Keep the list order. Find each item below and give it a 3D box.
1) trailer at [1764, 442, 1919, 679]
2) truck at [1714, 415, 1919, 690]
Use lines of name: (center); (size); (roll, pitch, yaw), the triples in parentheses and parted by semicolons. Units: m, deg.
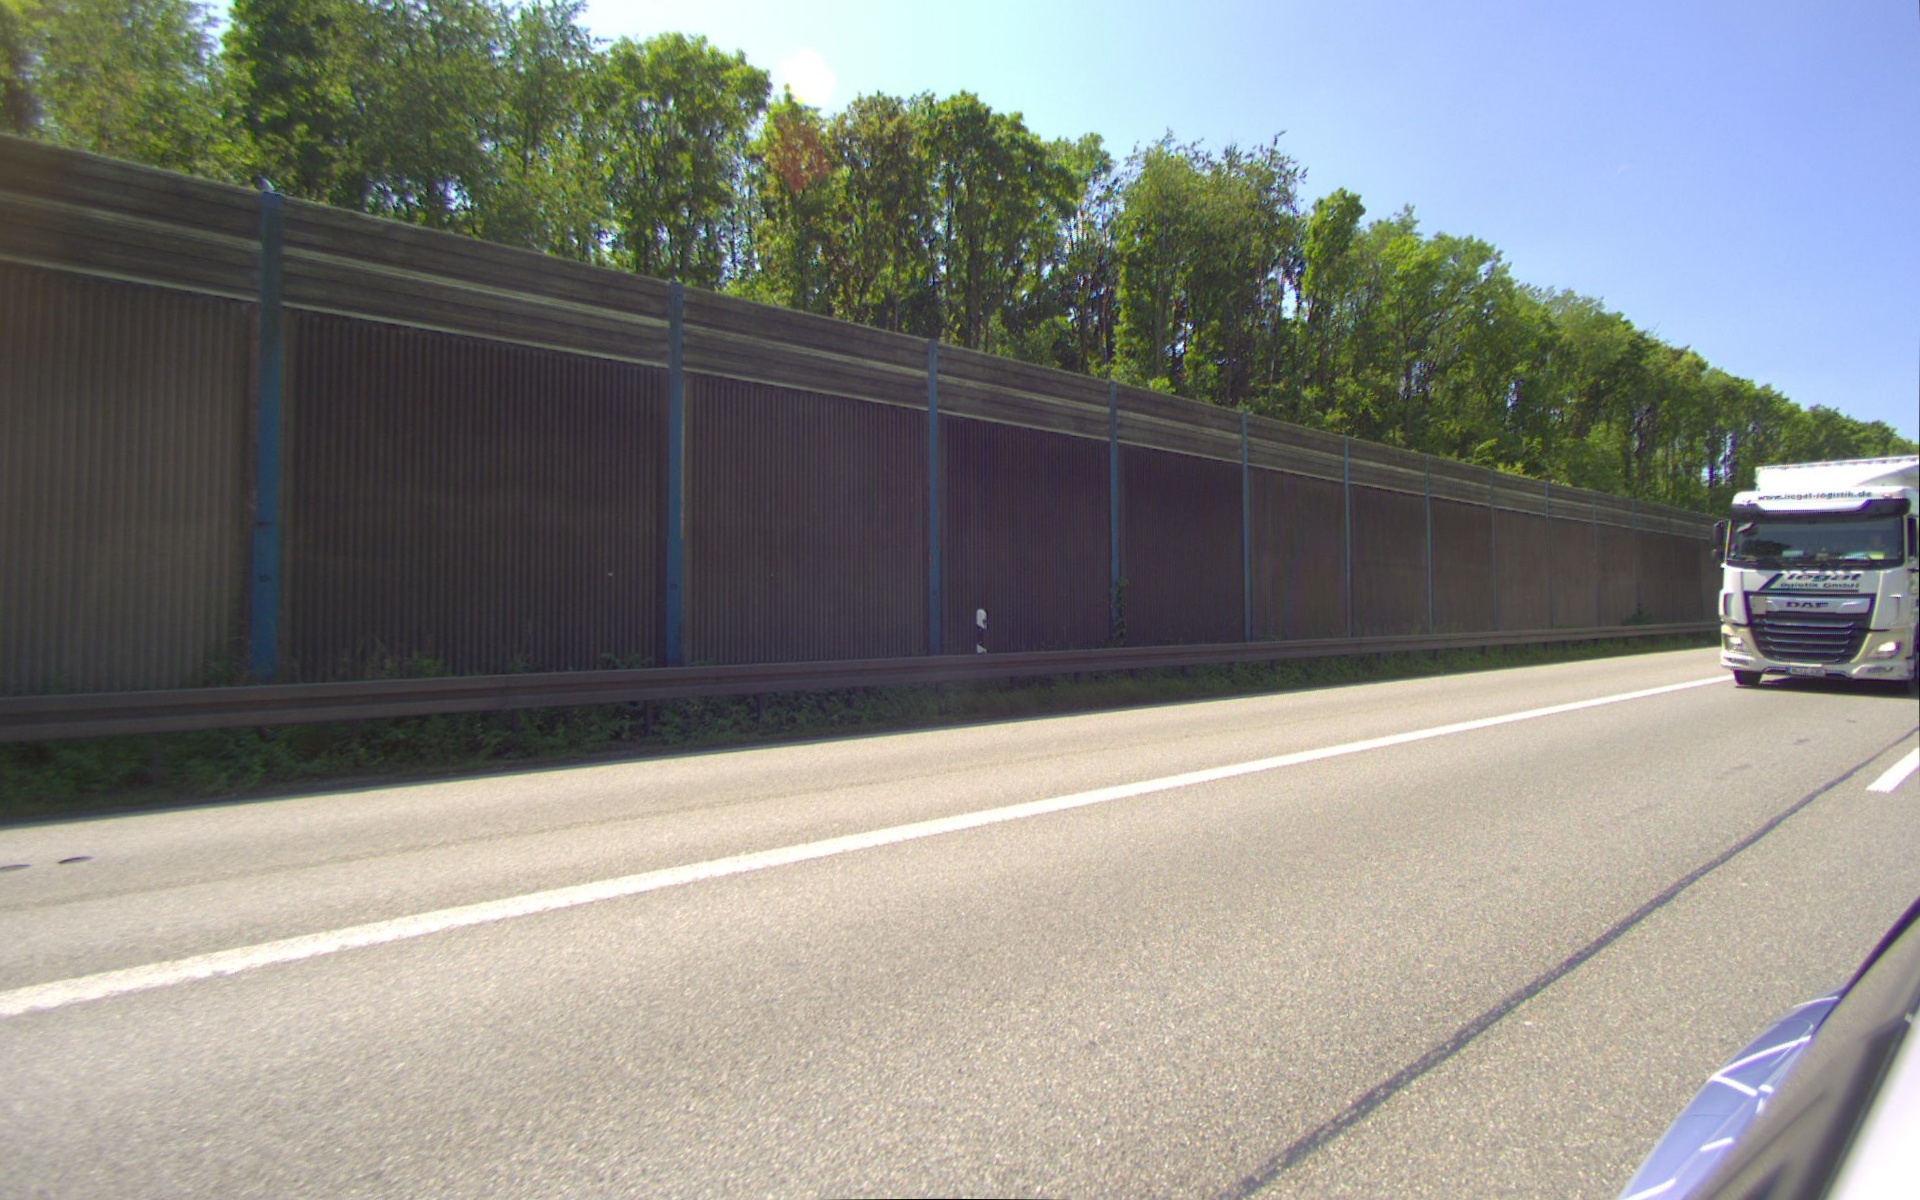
trailer: (21.657, -0.683, 22.955); (13.007, 4.258, 2.791); (0, -1, -40)
truck: (16.269, -0.723, 18.444); (5.764, 4.258, 2.791); (1, -1, -40)
